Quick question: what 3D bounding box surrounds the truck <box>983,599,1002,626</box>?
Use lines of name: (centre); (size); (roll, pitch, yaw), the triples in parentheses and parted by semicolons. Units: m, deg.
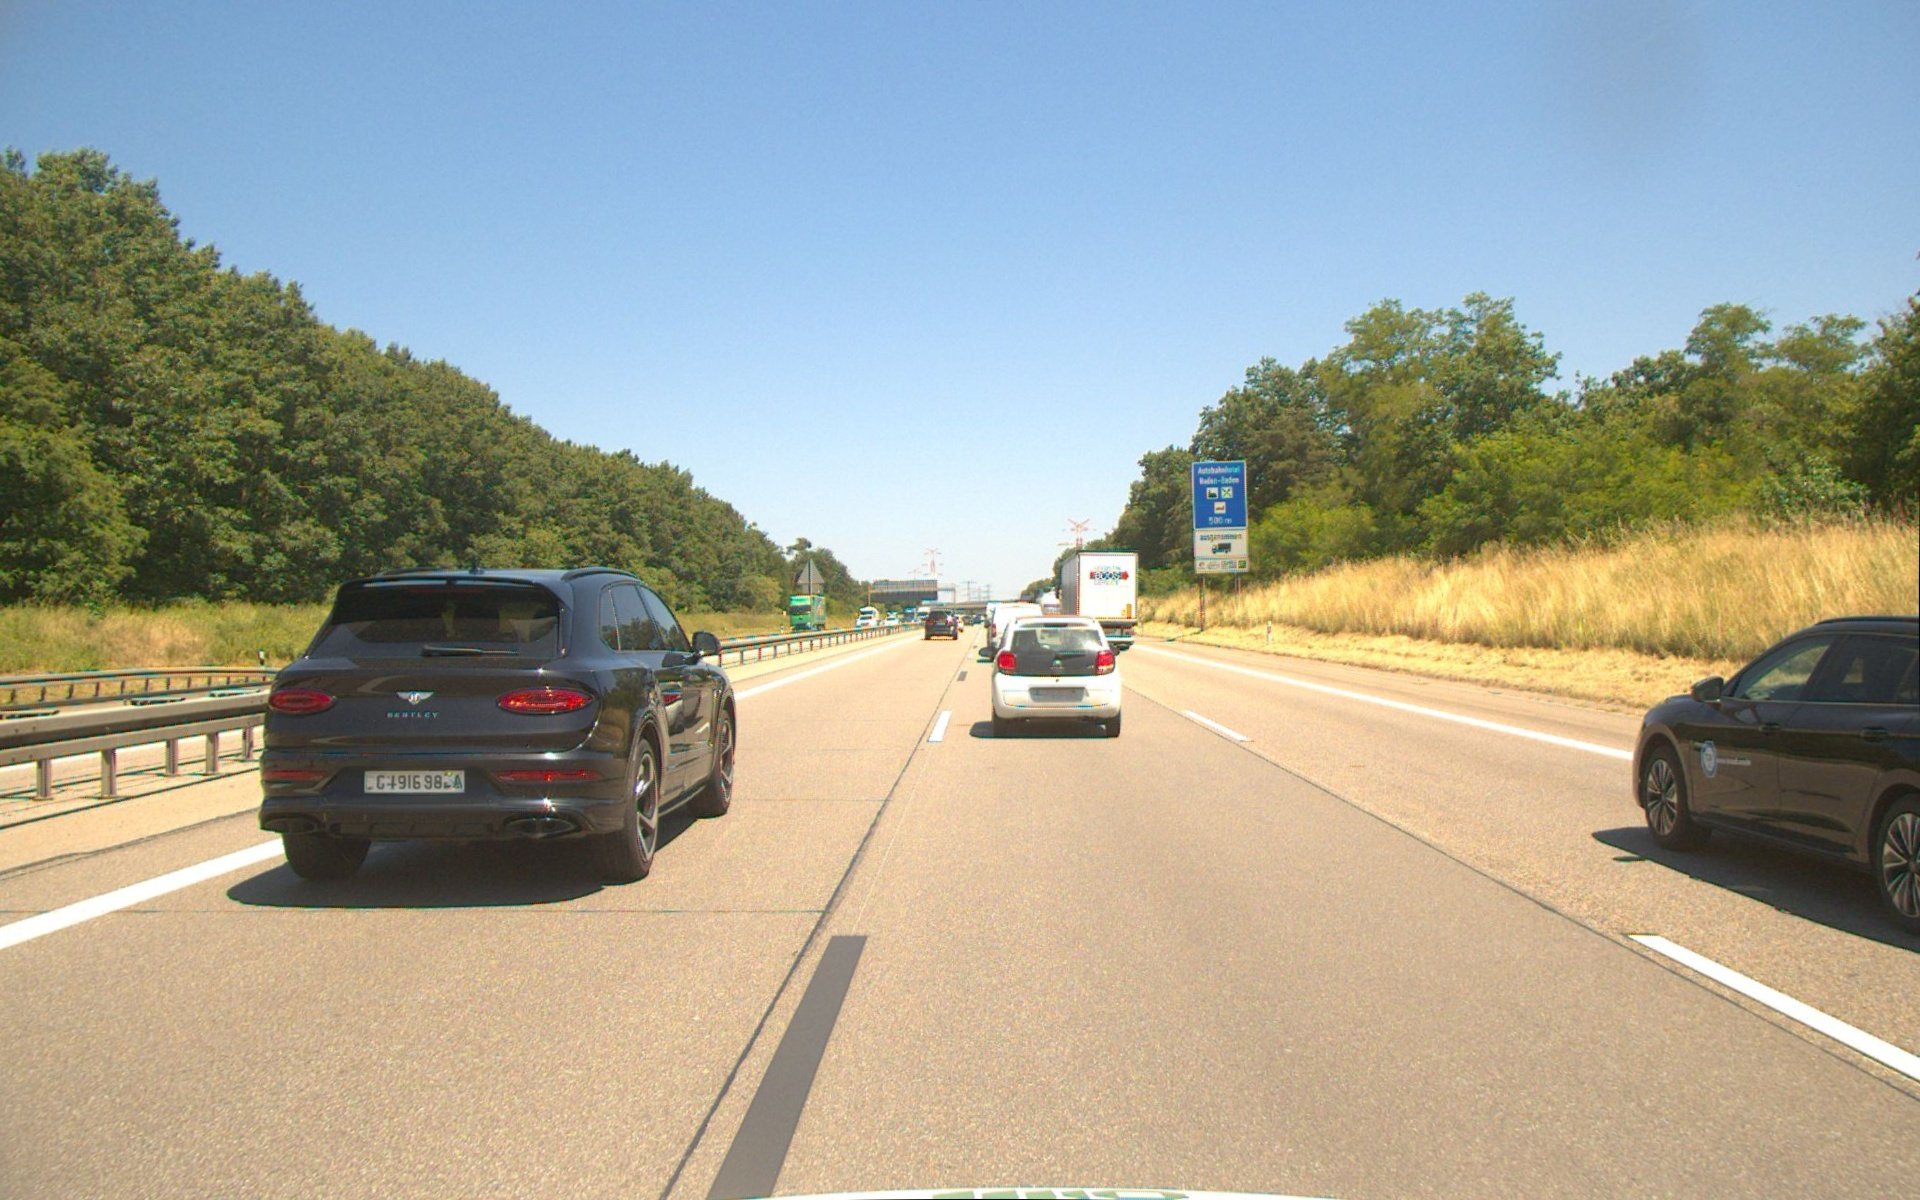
truck: (3.657, 1.379, 184.747); (2.018, 2.965, 7.003); (-1, -1, 0)

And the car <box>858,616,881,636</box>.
car: (-9.458, 2.719, 173.311); (1.914, 1.823, 5.562); (-4, 0, 1)

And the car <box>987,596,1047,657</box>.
car: (1.798, 0.853, 53.513); (1.777, 1.859, 5.110); (-1, -1, 0)

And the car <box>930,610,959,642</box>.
car: (-0.869, 1.509, 96.787); (1.593, 1.785, 3.805); (0, 0, 1)

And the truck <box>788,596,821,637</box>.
truck: (-16.985, 1.774, 180.684); (2.645, 4.233, 6.296); (-4, -1, 1)

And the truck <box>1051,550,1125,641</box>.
truck: (6.224, -0.168, 81.301); (3.218, 4.293, 6.007); (0, -1, 0)

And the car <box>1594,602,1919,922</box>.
car: (5.330, 0.759, 9.167); (1.784, 1.481, 4.788); (0, 0, 0)

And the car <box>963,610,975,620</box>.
car: (1.264, 2.077, 227.003); (1.574, 1.323, 3.674); (0, 0, 1)

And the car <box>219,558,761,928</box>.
car: (-2.622, 0.682, 10.912); (1.900, 1.783, 5.813); (0, 0, 0)

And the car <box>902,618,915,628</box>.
car: (-7.568, 3.391, 244.004); (1.674, 1.435, 5.083); (-4, -1, 1)

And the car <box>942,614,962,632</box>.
car: (-0.676, 1.950, 140.358); (1.635, 1.426, 3.712); (-1, 0, 0)

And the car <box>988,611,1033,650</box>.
car: (2.017, 1.215, 66.910); (1.738, 1.498, 3.872); (-1, -1, 0)

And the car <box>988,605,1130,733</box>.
car: (1.206, 0.829, 21.669); (1.673, 1.521, 4.024); (0, 0, 1)

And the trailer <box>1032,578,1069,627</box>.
trailer: (7.560, 0.284, 139.389); (2.627, 3.904, 12.010); (0, -1, 0)

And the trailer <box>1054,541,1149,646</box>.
trailer: (6.192, -0.207, 74.654); (3.218, 4.293, 13.564); (0, -1, 0)

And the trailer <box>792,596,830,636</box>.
trailer: (-16.856, 1.810, 188.070); (2.649, 4.233, 14.338); (-4, -1, 1)
